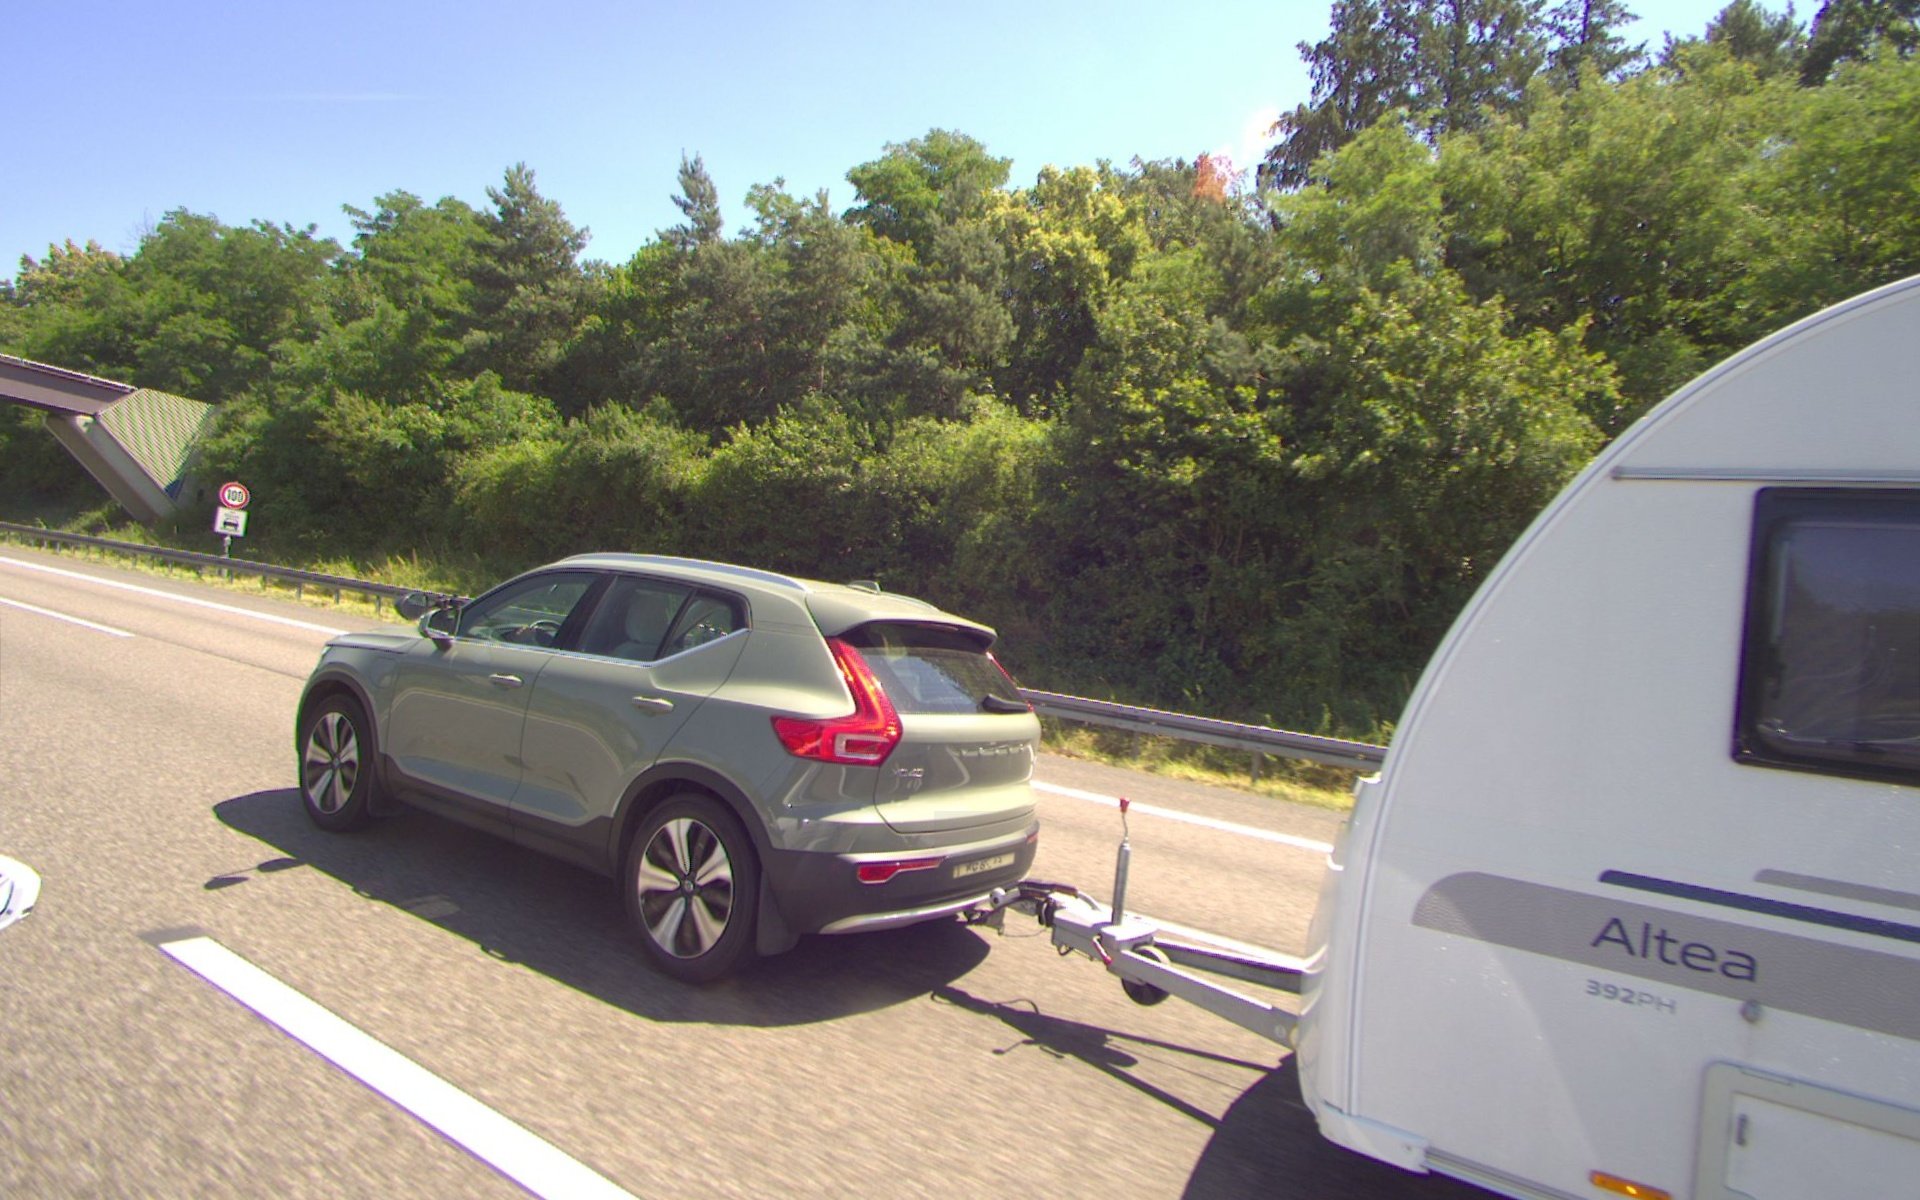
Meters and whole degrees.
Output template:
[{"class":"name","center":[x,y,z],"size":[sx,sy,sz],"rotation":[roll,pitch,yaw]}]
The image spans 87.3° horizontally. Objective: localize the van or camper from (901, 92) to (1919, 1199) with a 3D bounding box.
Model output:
[{"class":"van or camper","center":[3.267,0.610,2.365],"size":[6.244,2.705,2.445],"rotation":[7,-2,31]}]

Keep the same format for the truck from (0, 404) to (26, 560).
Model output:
[{"class":"truck","center":[-32.395,-3.962,29.845],"size":[11.459,4.293,3.578],"rotation":[6,-2,32]}]

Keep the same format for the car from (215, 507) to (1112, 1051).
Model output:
[{"class":"car","center":[-1.777,0.580,5.400],"size":[4.624,1.631,1.883],"rotation":[6,-2,32]}]
